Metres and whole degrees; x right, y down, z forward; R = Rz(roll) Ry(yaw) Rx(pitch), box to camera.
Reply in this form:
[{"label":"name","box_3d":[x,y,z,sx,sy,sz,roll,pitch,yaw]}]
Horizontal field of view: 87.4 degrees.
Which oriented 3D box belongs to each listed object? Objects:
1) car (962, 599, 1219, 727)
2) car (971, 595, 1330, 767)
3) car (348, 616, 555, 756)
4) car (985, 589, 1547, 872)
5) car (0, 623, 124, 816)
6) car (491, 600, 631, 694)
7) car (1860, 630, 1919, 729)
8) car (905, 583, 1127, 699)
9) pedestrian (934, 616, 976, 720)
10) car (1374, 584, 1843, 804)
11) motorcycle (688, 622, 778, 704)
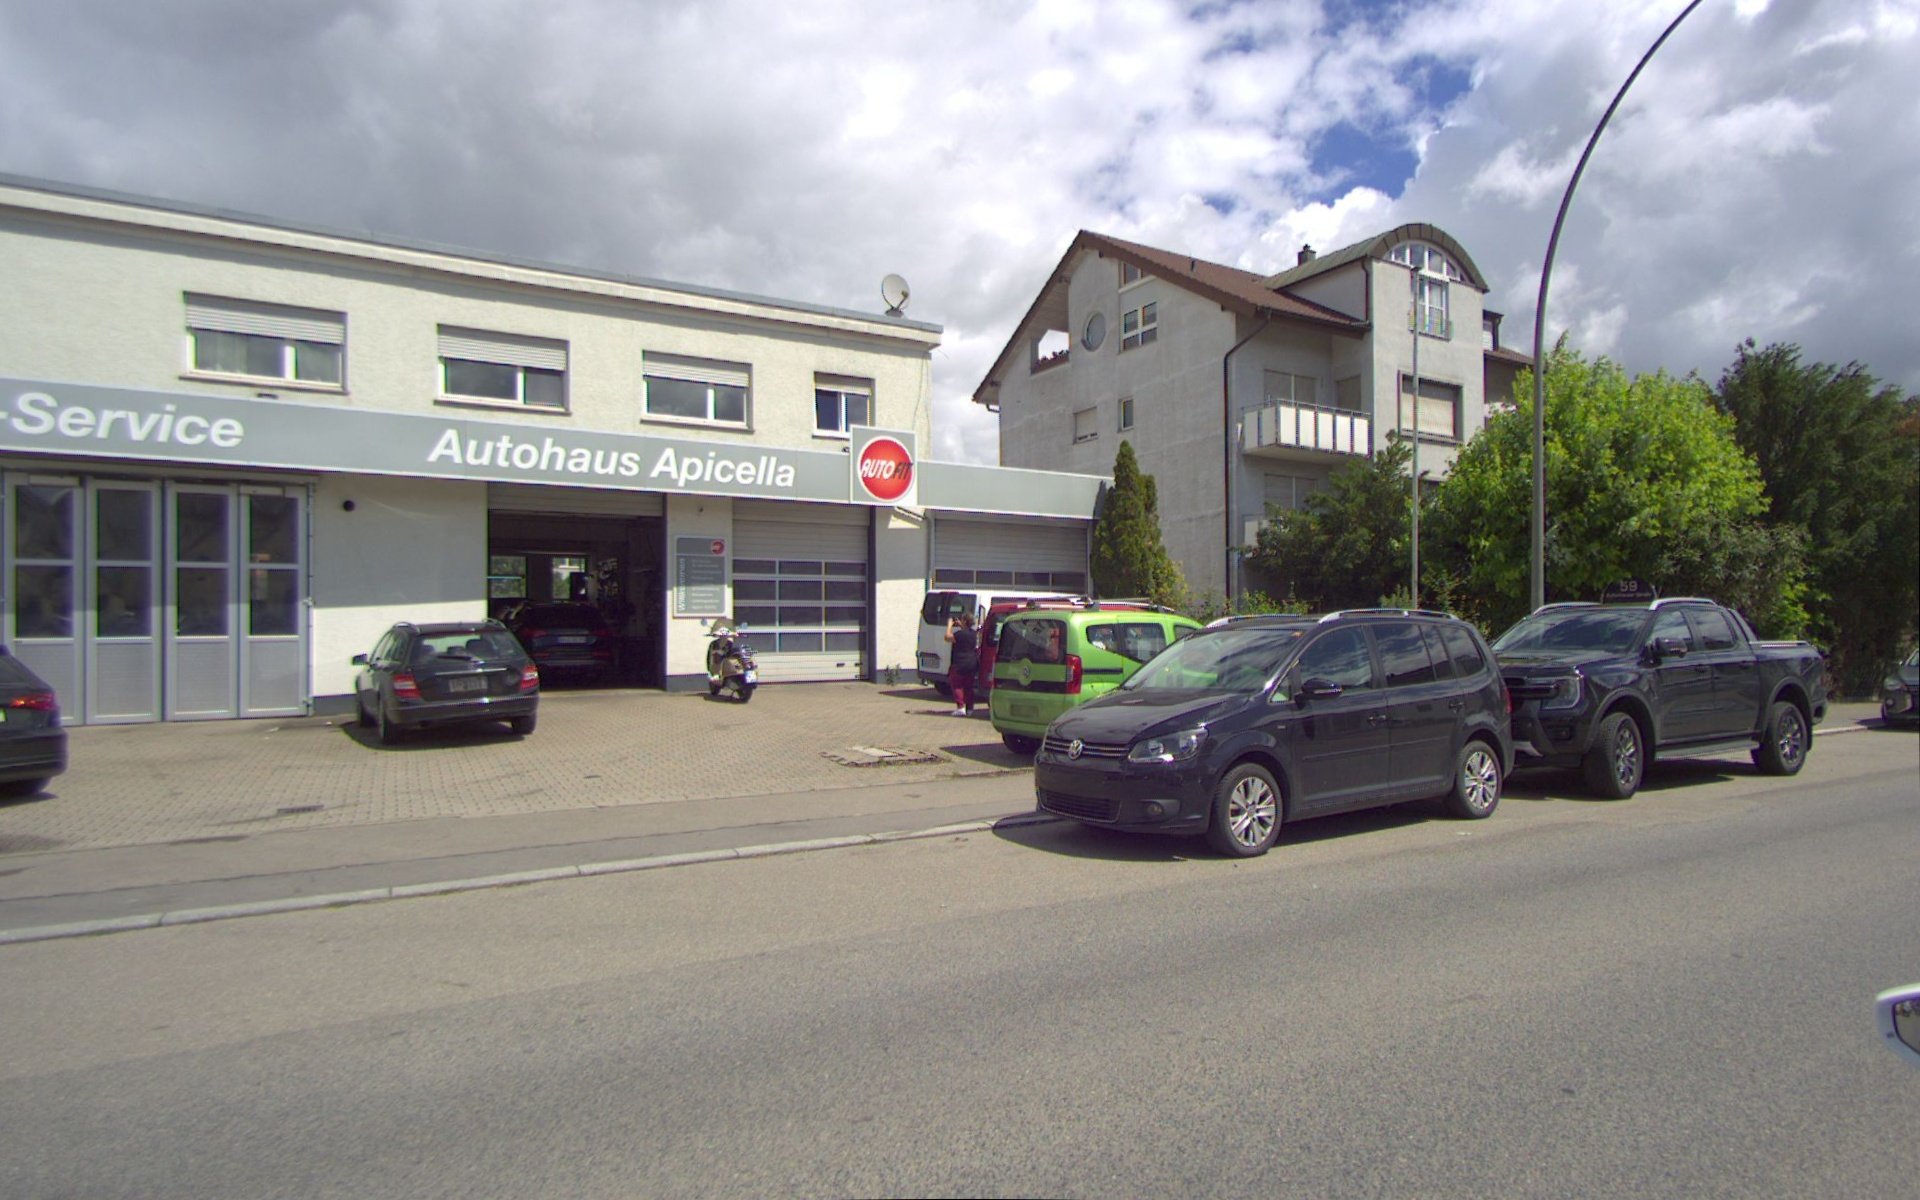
[{"label":"car","box_3d":[2.265,0.981,16.723,4.304,1.809,1.776,2,0,-41]},{"label":"car","box_3d":[2.425,0.897,12.439,4.289,1.809,1.783,1,-1,-31]},{"label":"car","box_3d":[-6.971,0.991,13.516,1.955,1.512,4.371,0,0,-34]},{"label":"car","box_3d":[2.522,0.866,7.930,4.473,1.702,1.655,1,-3,-31]},{"label":"car","box_3d":[-9.581,0.953,8.519,4.252,1.509,1.798,0,-1,17]},{"label":"car","box_3d":[-8.198,0.869,20.434,1.851,1.639,3.962,1,1,-34]},{"label":"car","box_3d":[16.650,1.253,16.478,3.898,1.530,1.655,1,-4,-31]},{"label":"car","box_3d":[1.182,0.772,19.511,4.311,2.006,1.857,3,-1,-45]},{"label":"pedestrian","box_3d":[-0.083,1.049,15.726,0.487,1.579,0.410,1,1,-31]},{"label":"car","box_3d":[6.984,0.907,10.642,5.366,1.844,1.902,1,-5,-31]},{"label":"motorcycle","box_3d":[-3.942,1.043,17.302,0.838,1.246,2.185,1,1,-32]}]
